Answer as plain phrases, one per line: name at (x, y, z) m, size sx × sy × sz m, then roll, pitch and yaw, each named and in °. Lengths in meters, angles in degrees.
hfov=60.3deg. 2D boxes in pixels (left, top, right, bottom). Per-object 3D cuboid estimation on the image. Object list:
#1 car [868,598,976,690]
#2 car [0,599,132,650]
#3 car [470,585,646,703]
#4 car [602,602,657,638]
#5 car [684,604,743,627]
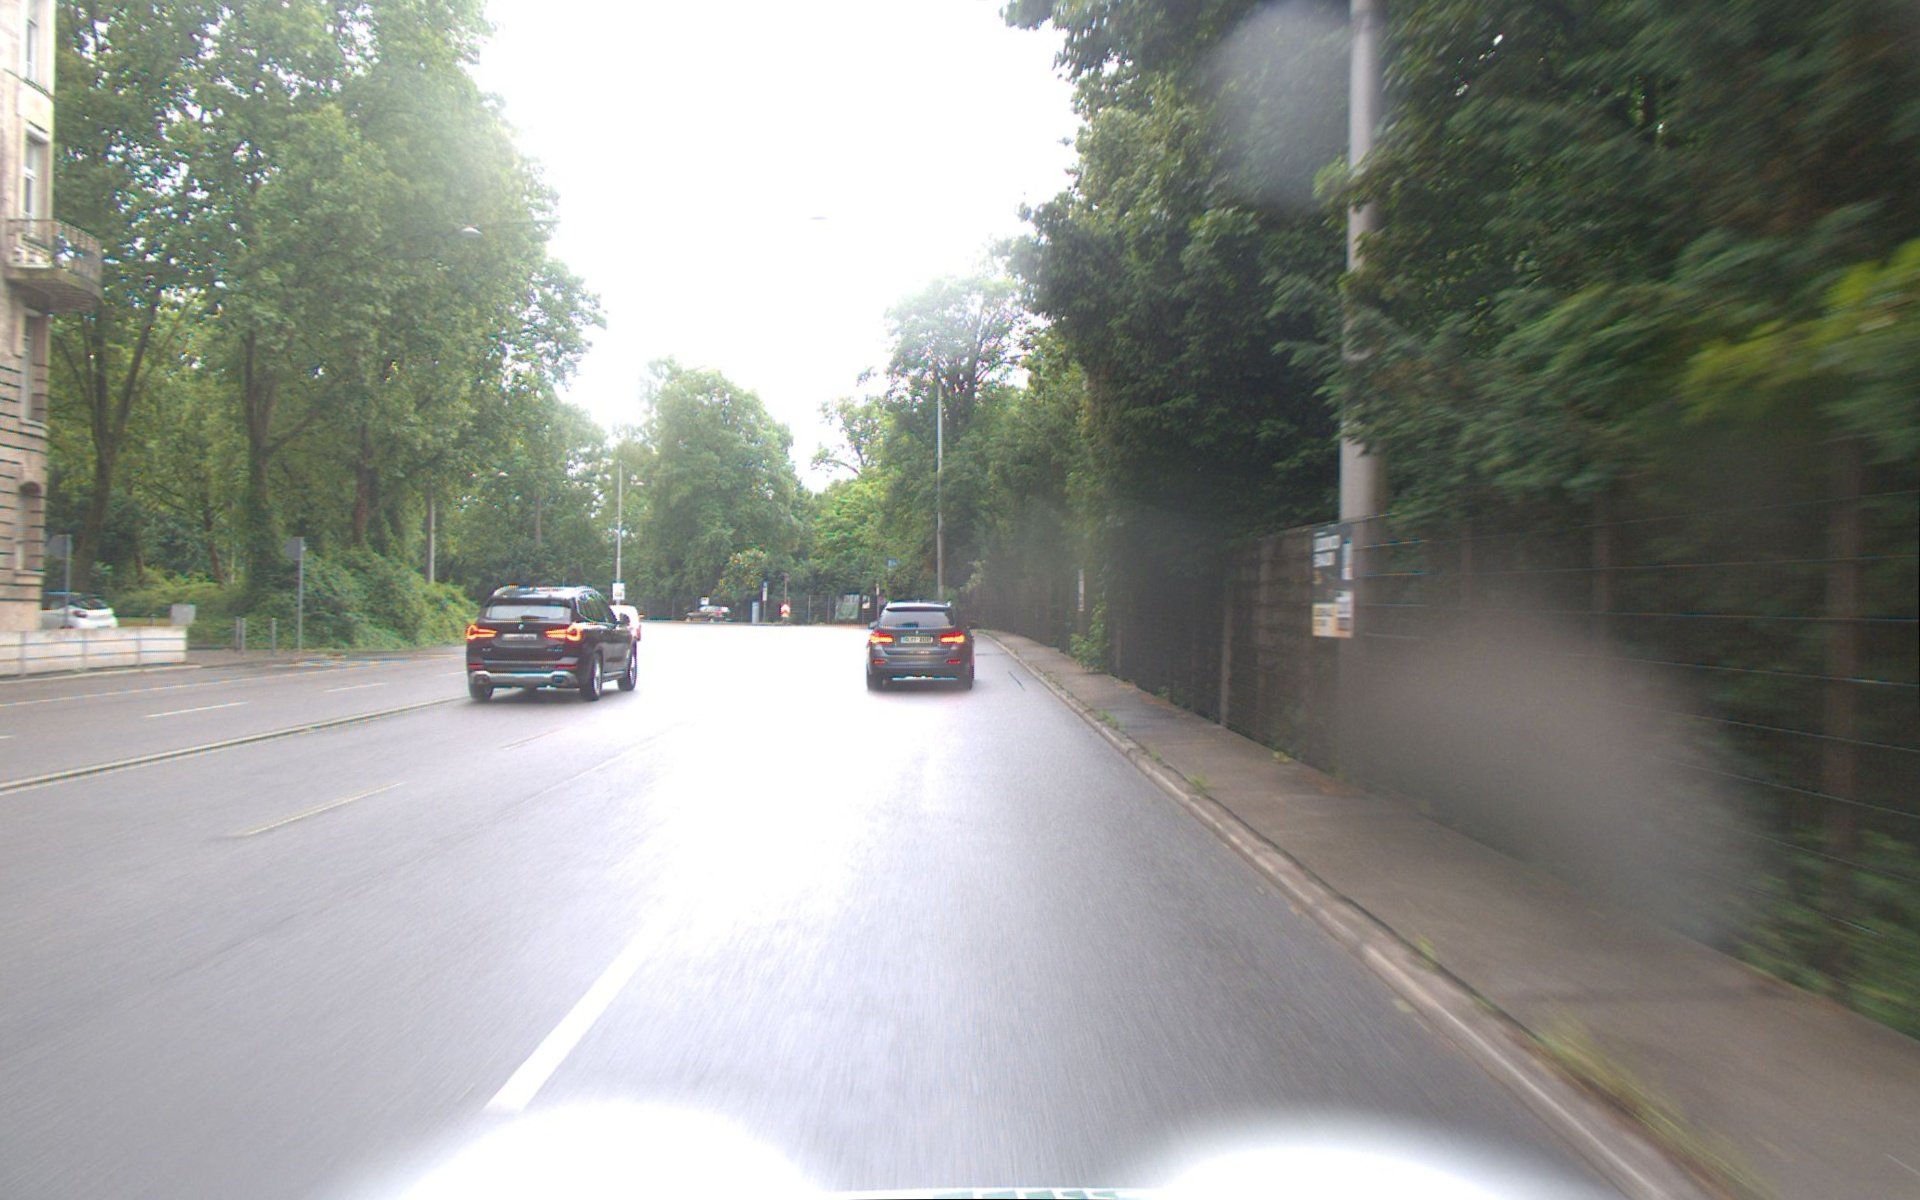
car at (-0.672, 0.710, 28.818) m, size 1.722 × 1.457 × 4.411 m, roll 0°, pitch 0°, yaw -2°
car at (-26.294, 0.703, 48.233) m, size 3.419 × 1.400 × 1.780 m, roll 0°, pitch 1°, yaw 9°
car at (-6.072, 0.628, 25.456) m, size 1.722 × 1.613 × 4.411 m, roll 1°, pitch 0°, yaw -2°
car at (-13.689, 0.801, 68.648) m, size 1.547 × 1.439 × 3.961 m, roll 0°, pitch 0°, yaw -1°
car at (-17.243, 1.112, 115.673) m, size 4.294 × 1.451 × 1.682 m, roll 1°, pitch -3°, yaw 43°
